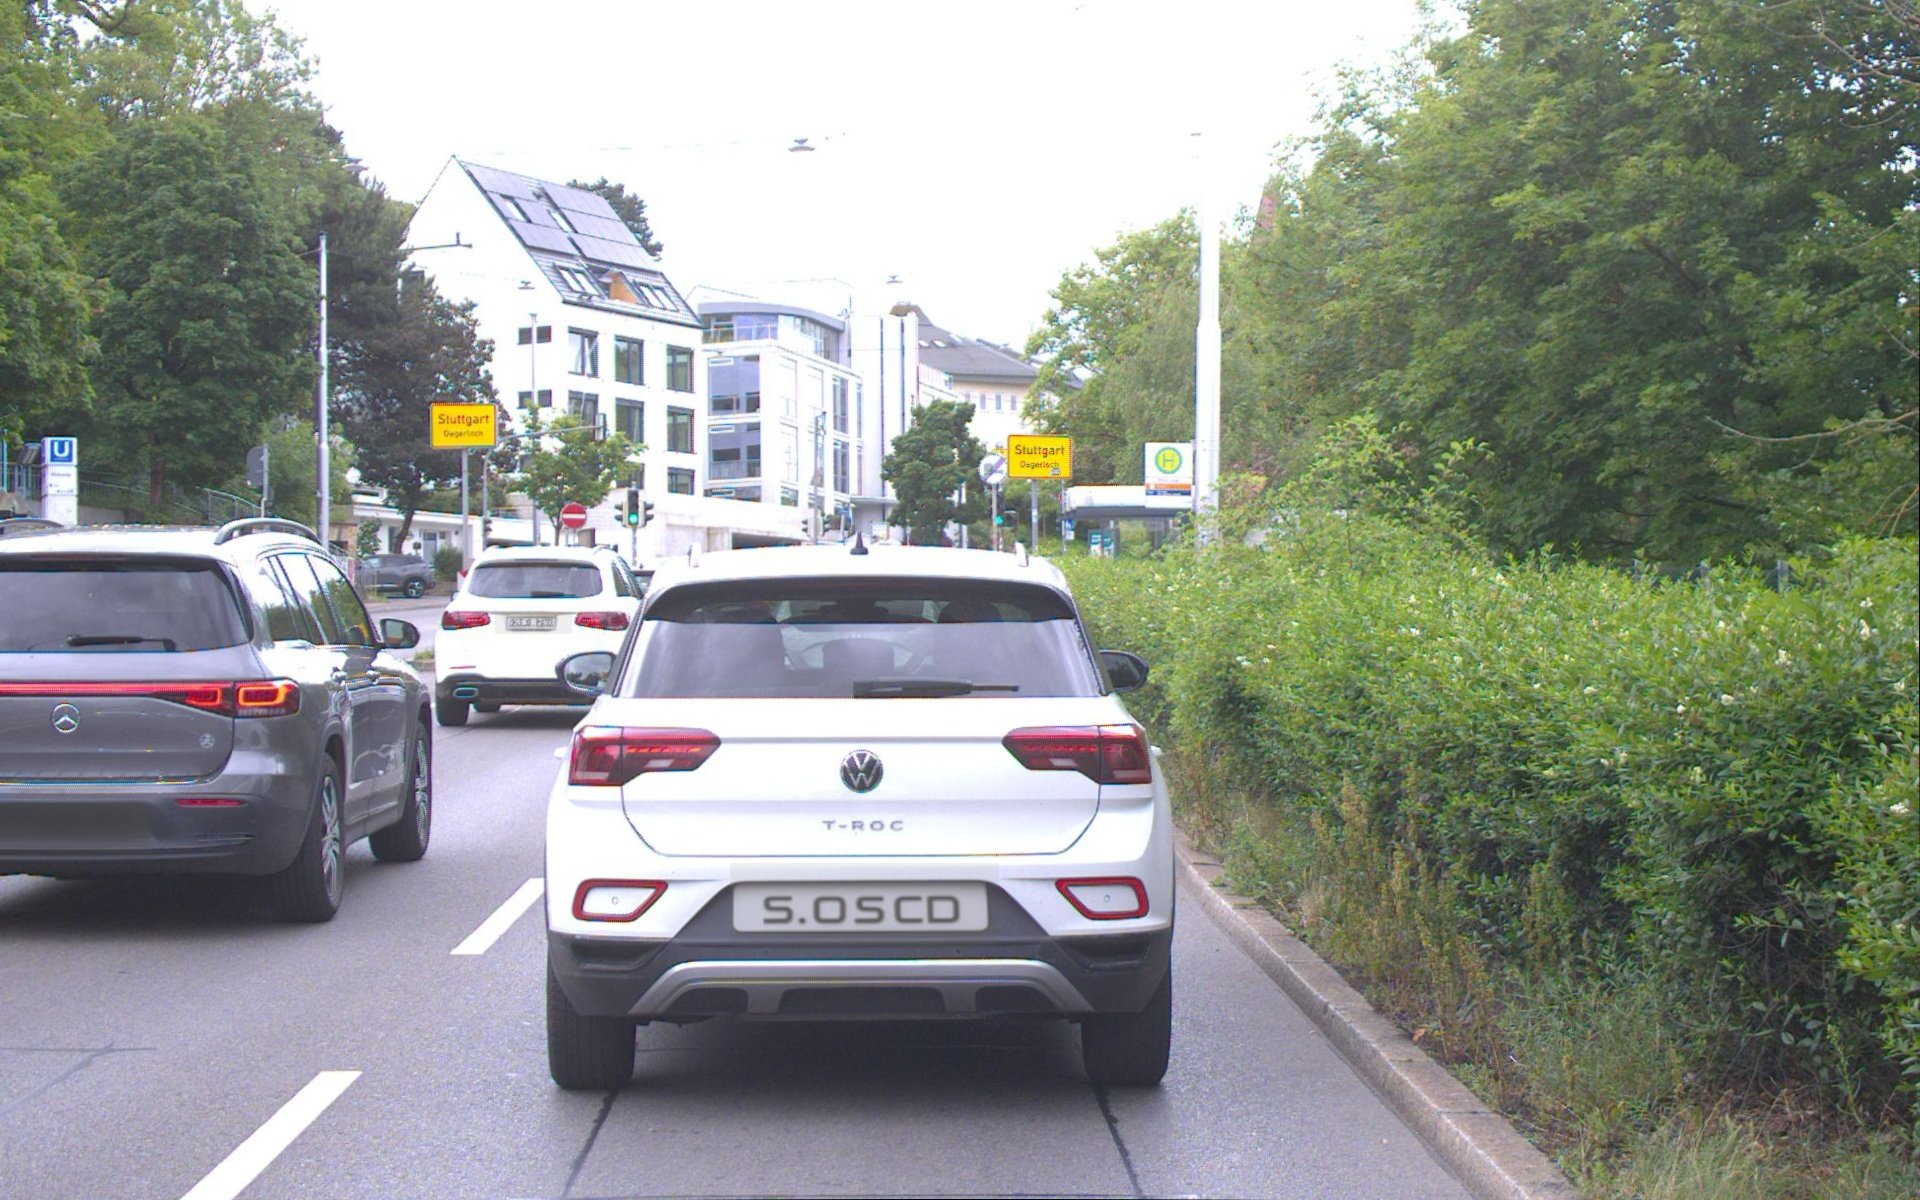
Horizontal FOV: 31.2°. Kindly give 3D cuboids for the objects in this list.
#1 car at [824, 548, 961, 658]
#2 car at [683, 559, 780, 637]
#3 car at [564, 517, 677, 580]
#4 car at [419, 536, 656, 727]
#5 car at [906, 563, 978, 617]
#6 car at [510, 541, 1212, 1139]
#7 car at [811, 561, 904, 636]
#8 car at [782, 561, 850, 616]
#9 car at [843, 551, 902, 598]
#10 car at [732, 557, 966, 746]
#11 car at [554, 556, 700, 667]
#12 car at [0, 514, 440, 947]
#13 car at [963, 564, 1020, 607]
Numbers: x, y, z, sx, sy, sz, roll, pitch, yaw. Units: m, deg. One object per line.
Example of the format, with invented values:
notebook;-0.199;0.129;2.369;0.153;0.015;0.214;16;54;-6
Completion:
car;-1.068;0.010;52.135;1.873;1.496;4.556;3;1;-3
car;-4.570;-0.070;69.273;1.858;1.495;4.056;-1;1;-3
car;-14.121;-2.128;143.359;2.233;2.559;7.417;0;1;15
car;-3.909;0.244;32.462;1.858;1.646;4.637;-1;1;-3
car;-0.522;-0.300;97.442;1.858;1.495;4.056;-1;1;-3
car;-0.338;0.600;10.812;1.811;1.534;3.690;-1;1;-3
car;-2.183;-0.053;72.288;1.858;1.495;4.056;-1;1;-3
car;-4.055;-0.349;96.615;1.858;1.495;4.056;-1;1;-3
car;-2.834;-0.838;111.240;1.858;1.495;4.056;-1;1;-2
car;-0.982;0.391;29.651;1.858;1.495;4.056;-1;1;-3
car;-4.714;0.130;49.162;1.858;1.495;4.056;-1;1;-3
car;-3.511;0.476;15.515;1.812;1.646;4.637;-1;1;-3
car;1.133;-0.526;122.196;1.858;1.495;4.055;-1;1;2
